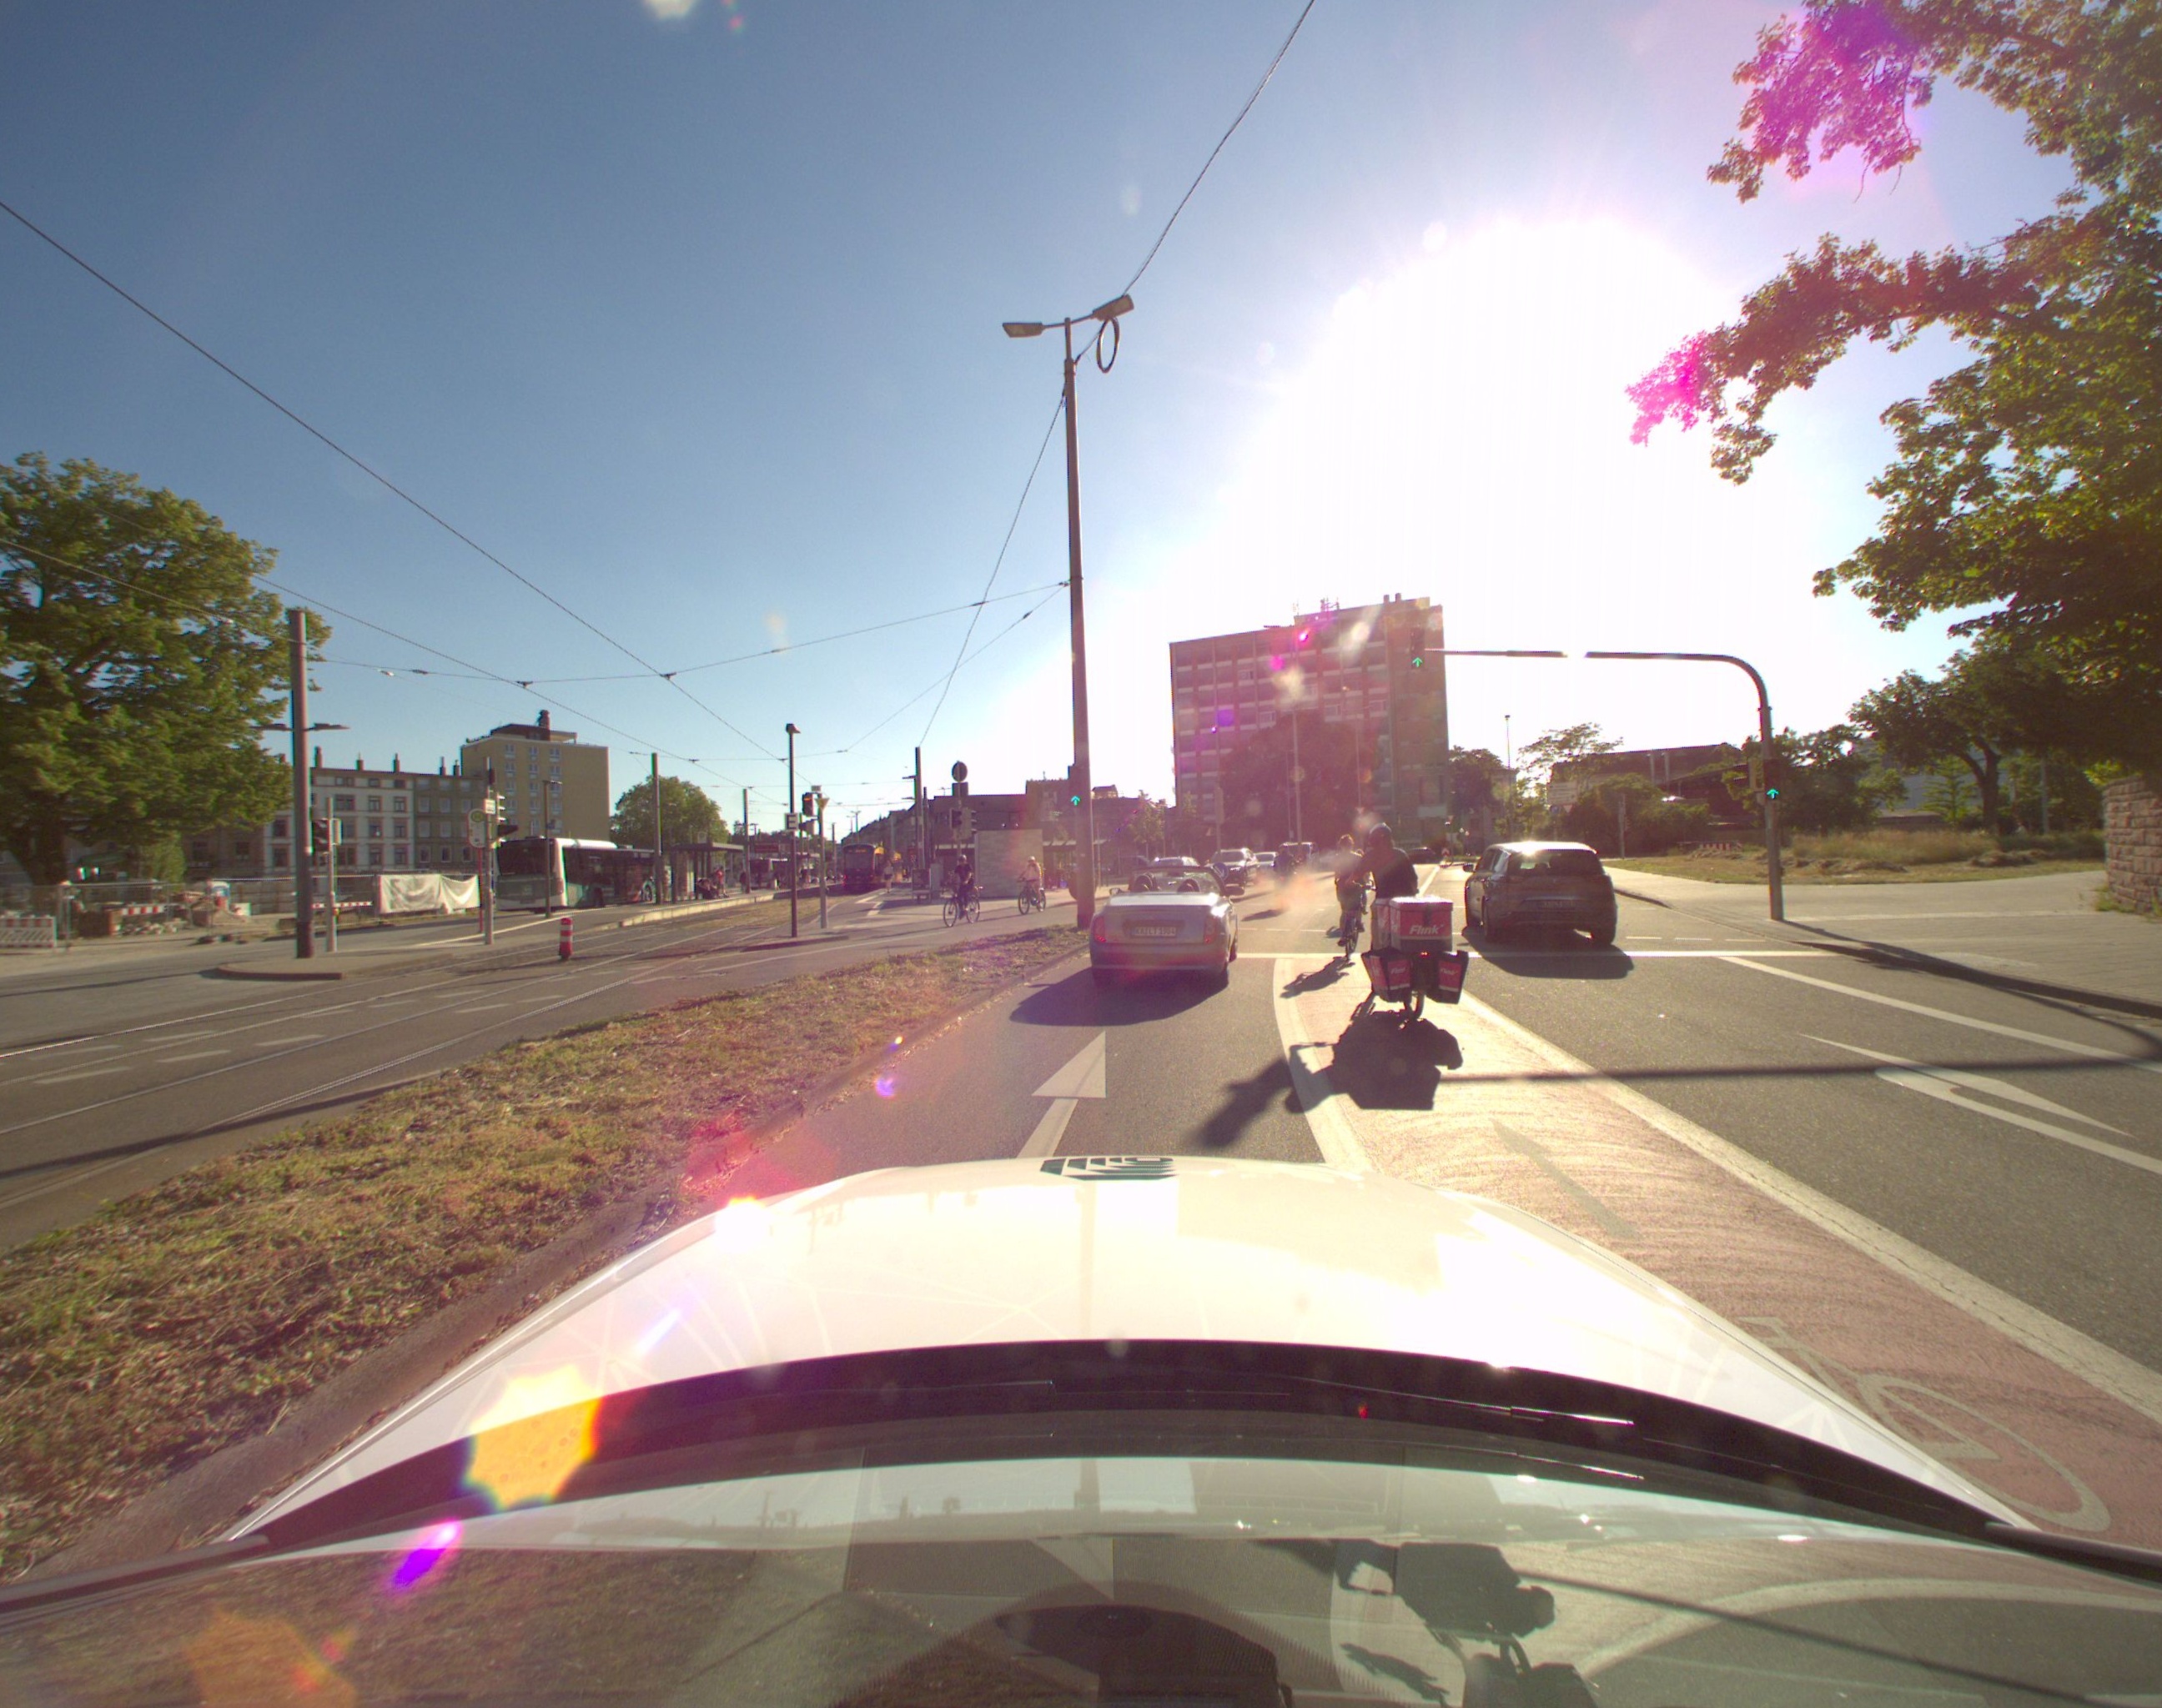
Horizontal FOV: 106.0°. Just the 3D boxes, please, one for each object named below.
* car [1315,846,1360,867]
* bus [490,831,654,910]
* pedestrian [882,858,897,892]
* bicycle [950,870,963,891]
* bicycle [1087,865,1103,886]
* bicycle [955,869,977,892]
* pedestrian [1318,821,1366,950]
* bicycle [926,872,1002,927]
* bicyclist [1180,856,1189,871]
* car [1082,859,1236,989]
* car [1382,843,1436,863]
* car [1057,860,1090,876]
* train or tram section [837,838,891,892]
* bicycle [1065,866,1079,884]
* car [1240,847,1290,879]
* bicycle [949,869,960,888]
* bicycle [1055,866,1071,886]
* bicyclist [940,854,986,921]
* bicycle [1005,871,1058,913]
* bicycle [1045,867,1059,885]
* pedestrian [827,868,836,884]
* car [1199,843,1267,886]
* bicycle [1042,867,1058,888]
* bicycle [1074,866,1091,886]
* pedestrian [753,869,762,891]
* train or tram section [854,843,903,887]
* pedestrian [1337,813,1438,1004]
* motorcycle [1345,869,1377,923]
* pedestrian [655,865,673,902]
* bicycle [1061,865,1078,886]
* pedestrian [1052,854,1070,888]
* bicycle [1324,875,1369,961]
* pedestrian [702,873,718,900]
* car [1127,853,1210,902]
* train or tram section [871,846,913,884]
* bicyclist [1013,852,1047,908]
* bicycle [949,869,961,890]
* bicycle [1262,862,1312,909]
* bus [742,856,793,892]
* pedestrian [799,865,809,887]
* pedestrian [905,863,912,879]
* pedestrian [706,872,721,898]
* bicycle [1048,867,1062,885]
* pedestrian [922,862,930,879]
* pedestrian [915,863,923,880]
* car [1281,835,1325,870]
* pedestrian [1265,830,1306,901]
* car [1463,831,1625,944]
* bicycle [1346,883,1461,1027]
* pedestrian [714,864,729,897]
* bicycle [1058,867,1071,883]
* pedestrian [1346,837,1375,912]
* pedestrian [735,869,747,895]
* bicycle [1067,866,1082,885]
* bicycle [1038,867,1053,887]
[{"bbox_3d":[21.284,0.203,67.450,4.024,1.530,1.782,-2,-1,-45],"label":"car"},{"bbox_3d":[-22.773,0.693,37.235,2.652,3.136,9.615,0,-1,-8],"label":"bus"},{"bbox_3d":[-10.148,1.123,43.146,0.639,1.749,0.569,-2,-1,-17],"label":"pedestrian"},{"bbox_3d":[-6.669,1.394,43.515,0.607,1.115,1.890,0,-1,-11],"label":"bicycle"},{"bbox_3d":[0.771,1.181,44.904,0.606,1.115,1.891,0,-1,-8],"label":"bicycle"},{"bbox_3d":[-5.909,1.359,41.898,0.603,1.115,1.900,0,-1,7],"label":"bicycle"},{"bbox_3d":[3.924,0.457,12.282,0.654,1.869,0.876,-1,-1,16],"label":"pedestrian"},{"bbox_3d":[-3.004,1.158,21.219,0.668,1.250,2.470,-5,-2,23],"label":"bicycle"},{"bbox_3d":[11.000,1.048,86.447,0.744,1.598,0.593,-1,-1,31],"label":"bicyclist"},{"bbox_3d":[1.255,0.799,11.198,1.649,1.441,4.167,-1,-1,12],"label":"car"},{"bbox_3d":[29.133,-0.057,72.438,3.981,1.530,1.801,-3,-1,-5],"label":"car"},{"bbox_3d":[-0.823,1.521,87.858,1.653,1.560,3.559,-2,-1,-38],"label":"car"},{"bbox_3d":[-15.870,0.803,60.287,2.882,3.597,12.155,0,-1,-10],"label":"train or tram section"},{"bbox_3d":[-0.568,1.337,52.601,0.607,1.115,1.890,0,-1,-11],"label":"bicycle"},{"bbox_3d":[10.009,0.454,44.108,1.679,1.560,4.004,-3,-1,27],"label":"car"},{"bbox_3d":[-7.981,1.538,51.339,0.607,1.115,1.890,0,-1,-11],"label":"bicycle"},{"bbox_3d":[-1.025,1.272,46.559,0.607,1.115,1.890,0,-1,-11],"label":"bicycle"},{"bbox_3d":[-3.060,0.853,21.155,0.702,1.657,0.906,-5,-2,23],"label":"bicyclist"},{"bbox_3d":[-1.502,1.146,25.038,0.668,1.180,2.195,-3,-1,23],"label":"bicycle"},{"bbox_3d":[-1.882,1.397,52.412,0.607,1.115,1.890,0,-1,-11],"label":"bicycle"},{"bbox_3d":[-27.650,2.441,90.271,0.733,1.749,0.638,-2,-1,-6],"label":"pedestrian"},{"bbox_3d":[6.769,0.432,35.886,1.745,1.706,4.556,-4,-1,25],"label":"car"},{"bbox_3d":[-1.718,1.252,44.496,0.607,1.115,1.890,0,-1,-11],"label":"bicycle"},{"bbox_3d":[0.071,1.238,46.931,0.607,1.115,1.890,0,-1,-11],"label":"bicycle"},{"bbox_3d":[-26.169,2.116,65.978,0.572,1.749,0.636,-2,-1,-18],"label":"pedestrian"},{"bbox_3d":[-17.784,0.972,72.309,3.011,3.597,12.163,0,-1,-8],"label":"train or tram section"},{"bbox_3d":[3.175,0.544,8.525,0.801,1.869,0.959,-1,-1,10],"label":"pedestrian"},{"bbox_3d":[6.176,0.885,17.978,0.608,1.097,2.371,-1,-1,19],"label":"motorcycle"},{"bbox_3d":[-20.135,1.404,39.340,0.536,1.749,0.559,-2,-1,-4],"label":"pedestrian"},{"bbox_3d":[-0.644,1.187,44.622,0.607,1.115,1.890,0,-1,-11],"label":"bicycle"},{"bbox_3d":[-1.119,0.940,45.615,0.901,1.869,0.684,0,-1,-11],"label":"pedestrian"},{"bbox_3d":[3.930,0.903,12.143,0.559,1.151,1.958,-1,-1,16],"label":"bicycle"},{"bbox_3d":[-19.047,1.663,41.818,0.617,1.340,0.438,-2,-1,-16],"label":"pedestrian"},{"bbox_3d":[3.127,0.789,28.507,1.721,1.574,3.946,-1,-1,24],"label":"car"},{"bbox_3d":[-19.427,1.127,84.263,3.038,3.597,12.018,0,-1,-8],"label":"train or tram section"},{"bbox_3d":[-1.567,0.782,24.927,0.702,1.657,0.747,-3,-1,23],"label":"bicyclist"},{"bbox_3d":[-7.034,1.420,45.446,0.606,1.115,1.891,0,-1,-9],"label":"bicycle"},{"bbox_3d":[5.609,0.817,22.071,0.602,1.191,2.429,-1,-1,31],"label":"bicycle"},{"bbox_3d":[-30.473,1.871,79.730,2.723,3.274,13.406,0,-1,-13],"label":"bus"},{"bbox_3d":[-22.388,1.786,65.787,0.641,1.749,0.567,-2,-1,-25],"label":"pedestrian"},{"bbox_3d":[-18.947,1.867,89.570,0.604,1.749,0.830,-2,-1,-6],"label":"pedestrian"},{"bbox_3d":[-19.182,1.619,42.504,0.571,1.346,0.636,-2,-1,-16],"label":"pedestrian"},{"bbox_3d":[-1.622,1.358,50.441,0.607,1.115,1.890,0,-1,-11],"label":"bicycle"},{"bbox_3d":[-16.767,1.779,88.031,0.639,1.749,0.732,-2,-1,-17],"label":"pedestrian"},{"bbox_3d":[-17.461,1.860,87.835,0.639,1.749,0.732,-2,-1,-17],"label":"pedestrian"},{"bbox_3d":[13.839,-0.088,50.630,1.892,1.945,4.732,-4,-1,23],"label":"car"},{"bbox_3d":[5.553,0.322,22.076,0.825,1.869,0.926,-1,-1,32],"label":"pedestrian"},{"bbox_3d":[8.014,0.532,14.524,1.816,1.689,4.390,-1,-1,20],"label":"car"},{"bbox_3d":[3.154,0.908,8.178,0.551,1.171,2.378,0,-1,9],"label":"bicycle"},{"bbox_3d":[-19.578,1.427,44.377,0.571,1.749,0.636,-2,-1,-16],"label":"pedestrian"},{"bbox_3d":[-1.127,1.423,56.115,0.607,1.115,1.890,0,-1,-11],"label":"bicycle"},{"bbox_3d":[6.182,0.448,18.002,0.583,1.598,1.030,-1,-1,19],"label":"pedestrian"},{"bbox_3d":[-23.472,1.901,56.204,0.641,1.749,0.567,-2,-1,-25],"label":"pedestrian"},{"bbox_3d":[-0.389,1.334,50.626,0.607,1.115,1.890,0,-1,-11],"label":"bicycle"},{"bbox_3d":[-2.054,1.291,46.579,0.607,1.115,1.890,0,-1,-11],"label":"bicycle"}]
